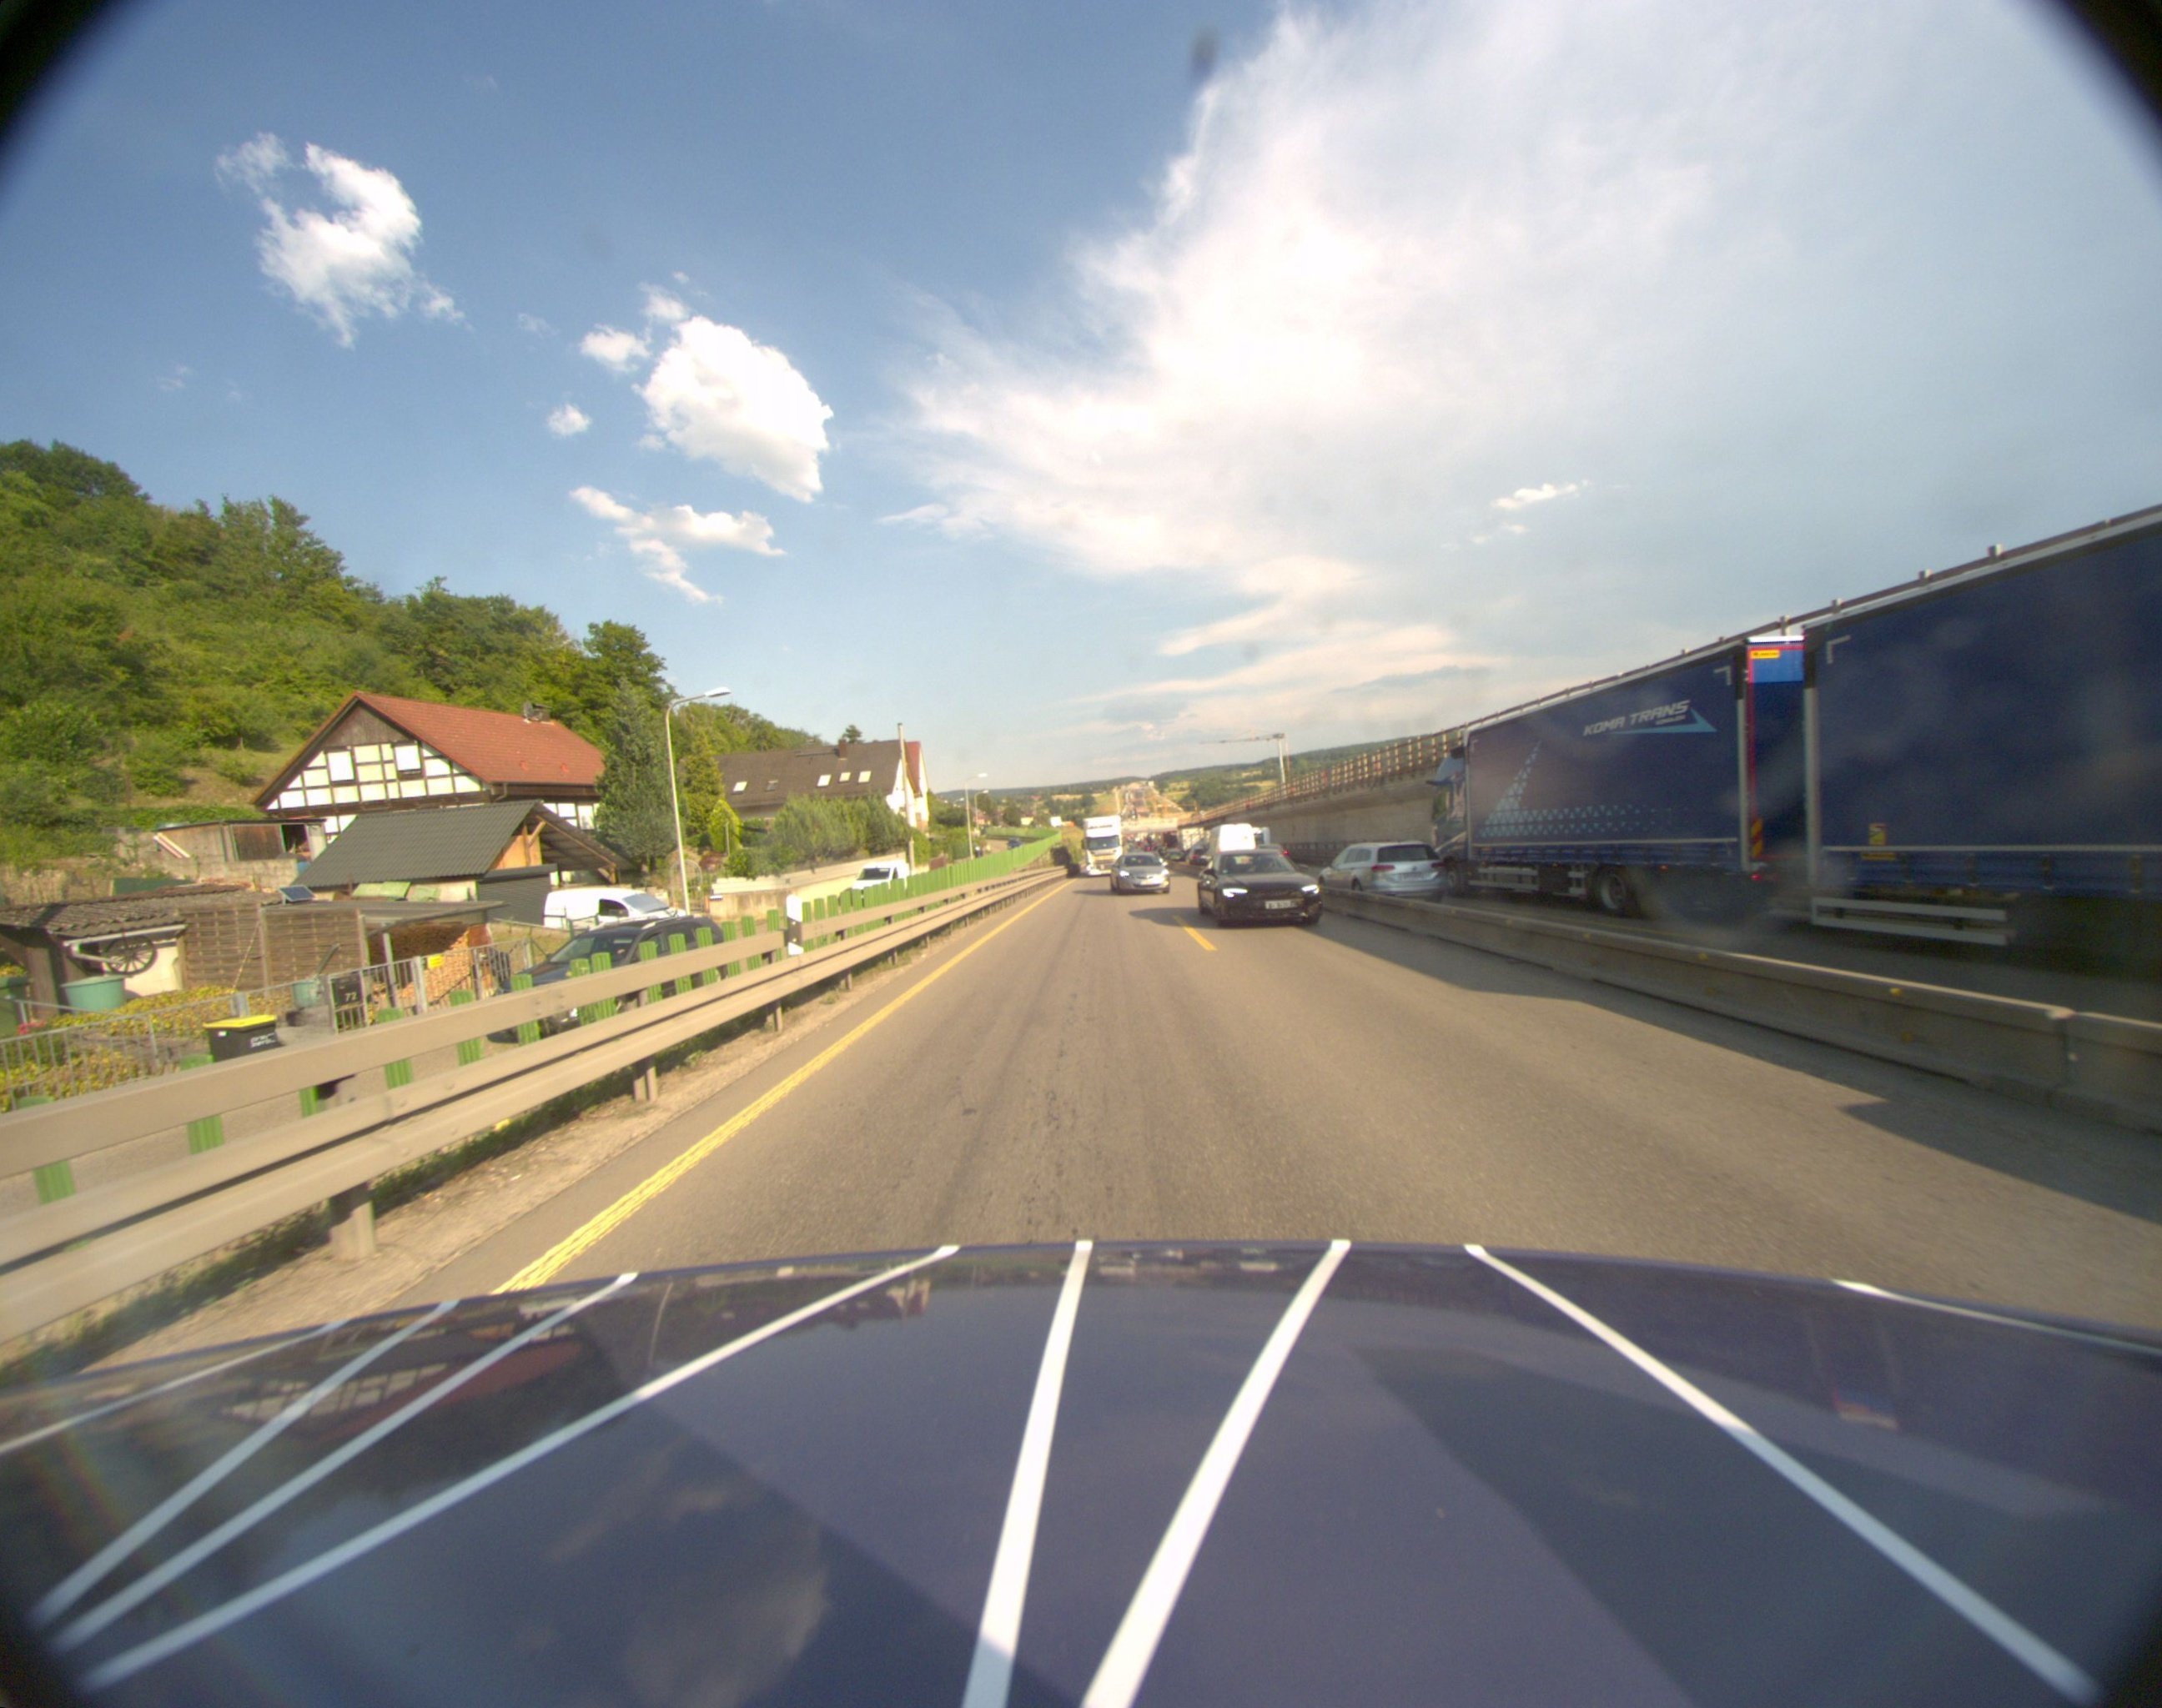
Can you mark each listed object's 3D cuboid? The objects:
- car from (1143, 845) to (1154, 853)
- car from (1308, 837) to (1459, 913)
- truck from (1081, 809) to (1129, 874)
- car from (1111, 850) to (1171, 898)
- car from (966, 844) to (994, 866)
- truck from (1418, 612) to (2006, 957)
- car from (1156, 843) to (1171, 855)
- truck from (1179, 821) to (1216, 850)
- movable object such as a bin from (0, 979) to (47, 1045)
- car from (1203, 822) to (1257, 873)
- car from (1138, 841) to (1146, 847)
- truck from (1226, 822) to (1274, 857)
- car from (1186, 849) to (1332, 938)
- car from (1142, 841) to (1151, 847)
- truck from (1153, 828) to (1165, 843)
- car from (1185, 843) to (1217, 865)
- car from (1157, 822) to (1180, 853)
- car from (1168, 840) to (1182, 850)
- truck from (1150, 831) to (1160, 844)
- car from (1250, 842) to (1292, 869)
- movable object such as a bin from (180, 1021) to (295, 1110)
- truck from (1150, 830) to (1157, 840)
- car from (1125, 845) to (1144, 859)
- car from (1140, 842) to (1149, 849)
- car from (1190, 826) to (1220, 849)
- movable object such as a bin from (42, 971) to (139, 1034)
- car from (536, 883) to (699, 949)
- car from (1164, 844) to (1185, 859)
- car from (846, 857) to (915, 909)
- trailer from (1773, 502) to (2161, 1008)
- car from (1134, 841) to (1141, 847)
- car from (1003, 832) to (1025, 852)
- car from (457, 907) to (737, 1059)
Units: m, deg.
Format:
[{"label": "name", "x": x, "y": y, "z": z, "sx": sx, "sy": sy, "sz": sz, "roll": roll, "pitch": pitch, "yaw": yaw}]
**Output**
[{"label": "car", "x": 12.397, "y": -0.946, "z": 139.047, "sx": 1.712, "sy": 1.312, "sz": 3.664, "roll": -6, "pitch": 1, "yaw": 2}, {"label": "car", "x": 6.906, "y": 0.417, "z": 17.919, "sx": 1.746, "sy": 1.432, "sz": 4.591, "roll": -5, "pitch": 0, "yaw": 2}, {"label": "truck", "x": 1.838, "y": -0.884, "z": 55.880, "sx": 2.892, "sy": 4.059, "sz": 13.893, "roll": -3, "pitch": 1, "yaw": 2}, {"label": "car", "x": 2.076, "y": 0.652, "z": 27.093, "sx": 1.810, "sy": 1.478, "sz": 4.118, "roll": -2, "pitch": 1, "yaw": 1}, {"label": "car", "x": -9.839, "y": 0.049, "z": 74.229, "sx": 1.998, "sy": 2.002, "sz": 4.000, "roll": -3, "pitch": 1, "yaw": 2}, {"label": "truck", "x": 10.346, "y": -0.946, "z": 14.902, "sx": 2.822, "sy": 4.234, "sz": 10.579, "roll": -3, "pitch": 1, "yaw": 1}, {"label": "car", "x": 11.170, "y": -0.693, "z": 103.373, "sx": 1.712, "sy": 1.312, "sz": 3.664, "roll": -6, "pitch": 1, "yaw": 2}, {"label": "truck", "x": 13.445, "y": -2.130, "z": 88.195, "sx": 3.242, "sy": 3.127, "sz": 6.489, "roll": -3, "pitch": 1, "yaw": 1}, {"label": "movable object such as a bin", "x": -16.704, "y": 2.441, "z": 11.620, "sx": 0.791, "sy": 0.896, "sz": 0.679, "roll": -3, "pitch": 1, "yaw": 0}, {"label": "car", "x": 8.147, "y": -0.356, "z": 42.067, "sx": 2.001, "sy": 2.601, "sz": 5.613, "roll": -2, "pitch": 1, "yaw": 2}, {"label": "car", "x": 15.884, "y": -2.667, "z": 198.112, "sx": 1.712, "sy": 1.312, "sz": 3.664, "roll": -6, "pitch": 1, "yaw": 2}, {"label": "truck", "x": 12.616, "y": -1.054, "z": 57.195, "sx": 2.280, "sy": 2.288, "sz": 6.064, "roll": -6, "pitch": 1, "yaw": 2}, {"label": "car", "x": 3.462, "y": 0.668, "z": 15.857, "sx": 1.945, "sy": 1.472, "sz": 5.222, "roll": -2, "pitch": 0, "yaw": 2}, {"label": "car", "x": 14.511, "y": -2.220, "z": 168.807, "sx": 1.712, "sy": 1.312, "sz": 3.664, "roll": -6, "pitch": 1, "yaw": 2}, {"label": "truck", "x": 17.236, "y": -4.037, "z": 168.299, "sx": 1.998, "sy": 3.154, "sz": 5.763, "roll": -3, "pitch": 1, "yaw": 2}, {"label": "car", "x": 8.495, "y": -0.014, "z": 54.037, "sx": 1.712, "sy": 1.312, "sz": 3.664, "roll": -6, "pitch": 1, "yaw": 2}, {"label": "car", "x": 16.482, "y": -3.080, "z": 144.660, "sx": 3.327, "sy": 5.356, "sz": 14.299, "roll": -3, "pitch": 1, "yaw": 3}, {"label": "car", "x": 14.199, "y": -1.339, "z": 115.335, "sx": 1.712, "sy": 1.312, "sz": 3.664, "roll": -6, "pitch": 1, "yaw": 2}, {"label": "truck", "x": 18.932, "y": -4.210, "z": 195.475, "sx": 1.998, "sy": 3.154, "sz": 5.763, "roll": -3, "pitch": 1, "yaw": 2}, {"label": "car", "x": 11.522, "y": 0.048, "z": 46.314, "sx": 1.712, "sy": 1.379, "sz": 4.001, "roll": -6, "pitch": 1, "yaw": 4}, {"label": "movable object such as a bin", "x": -11.695, "y": 2.923, "z": 10.559, "sx": 0.724, "sy": 0.995, "sz": 0.677, "roll": -5, "pitch": 2, "yaw": 2}, {"label": "truck", "x": 23.028, "y": -5.978, "z": 241.404, "sx": 1.998, "sy": 3.154, "sz": 5.763, "roll": -3, "pitch": 1, "yaw": 2}, {"label": "car", "x": 6.359, "y": -0.280, "z": 90.576, "sx": 1.998, "sy": 1.565, "sz": 4.000, "roll": -3, "pitch": 1, "yaw": 3}, {"label": "car", "x": 13.597, "y": -1.907, "z": 162.383, "sx": 1.712, "sy": 1.312, "sz": 3.664, "roll": -6, "pitch": 1, "yaw": 2}, {"label": "car", "x": 12.326, "y": -1.636, "z": 75.727, "sx": 2.214, "sy": 2.011, "sz": 3.973, "roll": -6, "pitch": 1, "yaw": 2}, {"label": "movable object such as a bin", "x": -16.798, "y": 2.512, "z": 12.898, "sx": 0.688, "sy": 0.896, "sz": 0.679, "roll": -3, "pitch": 1, "yaw": 0}, {"label": "car", "x": -14.515, "y": 1.922, "z": 23.941, "sx": 3.996, "sy": 1.829, "sz": 1.749, "roll": -1, "pitch": 3, "yaw": 3}, {"label": "car", "x": 9.580, "y": -0.245, "z": 78.039, "sx": 1.712, "sy": 1.312, "sz": 3.664, "roll": -6, "pitch": 1, "yaw": 2}, {"label": "car", "x": -9.051, "y": 1.249, "z": 34.662, "sx": 1.824, "sy": 1.931, "sz": 4.283, "roll": -4, "pitch": 2, "yaw": 1}, {"label": "trailer", "x": 10.122, "y": -0.831, "z": 5.447, "sx": 2.822, "sy": 4.082, "sz": 8.286, "roll": -3, "pitch": 1, "yaw": 1}, {"label": "car", "x": 16.026, "y": -2.866, "z": 214.873, "sx": 1.712, "sy": 1.312, "sz": 3.664, "roll": -6, "pitch": 1, "yaw": 2}, {"label": "car", "x": -7.011, "y": -1.268, "z": 80.364, "sx": 1.999, "sy": 2.002, "sz": 3.999, "roll": -3, "pitch": 1, "yaw": -2}, {"label": "car", "x": -8.538, "y": 2.175, "z": 14.033, "sx": 1.866, "sy": 1.775, "sz": 4.498, "roll": -3, "pitch": 3, "yaw": 5}]
